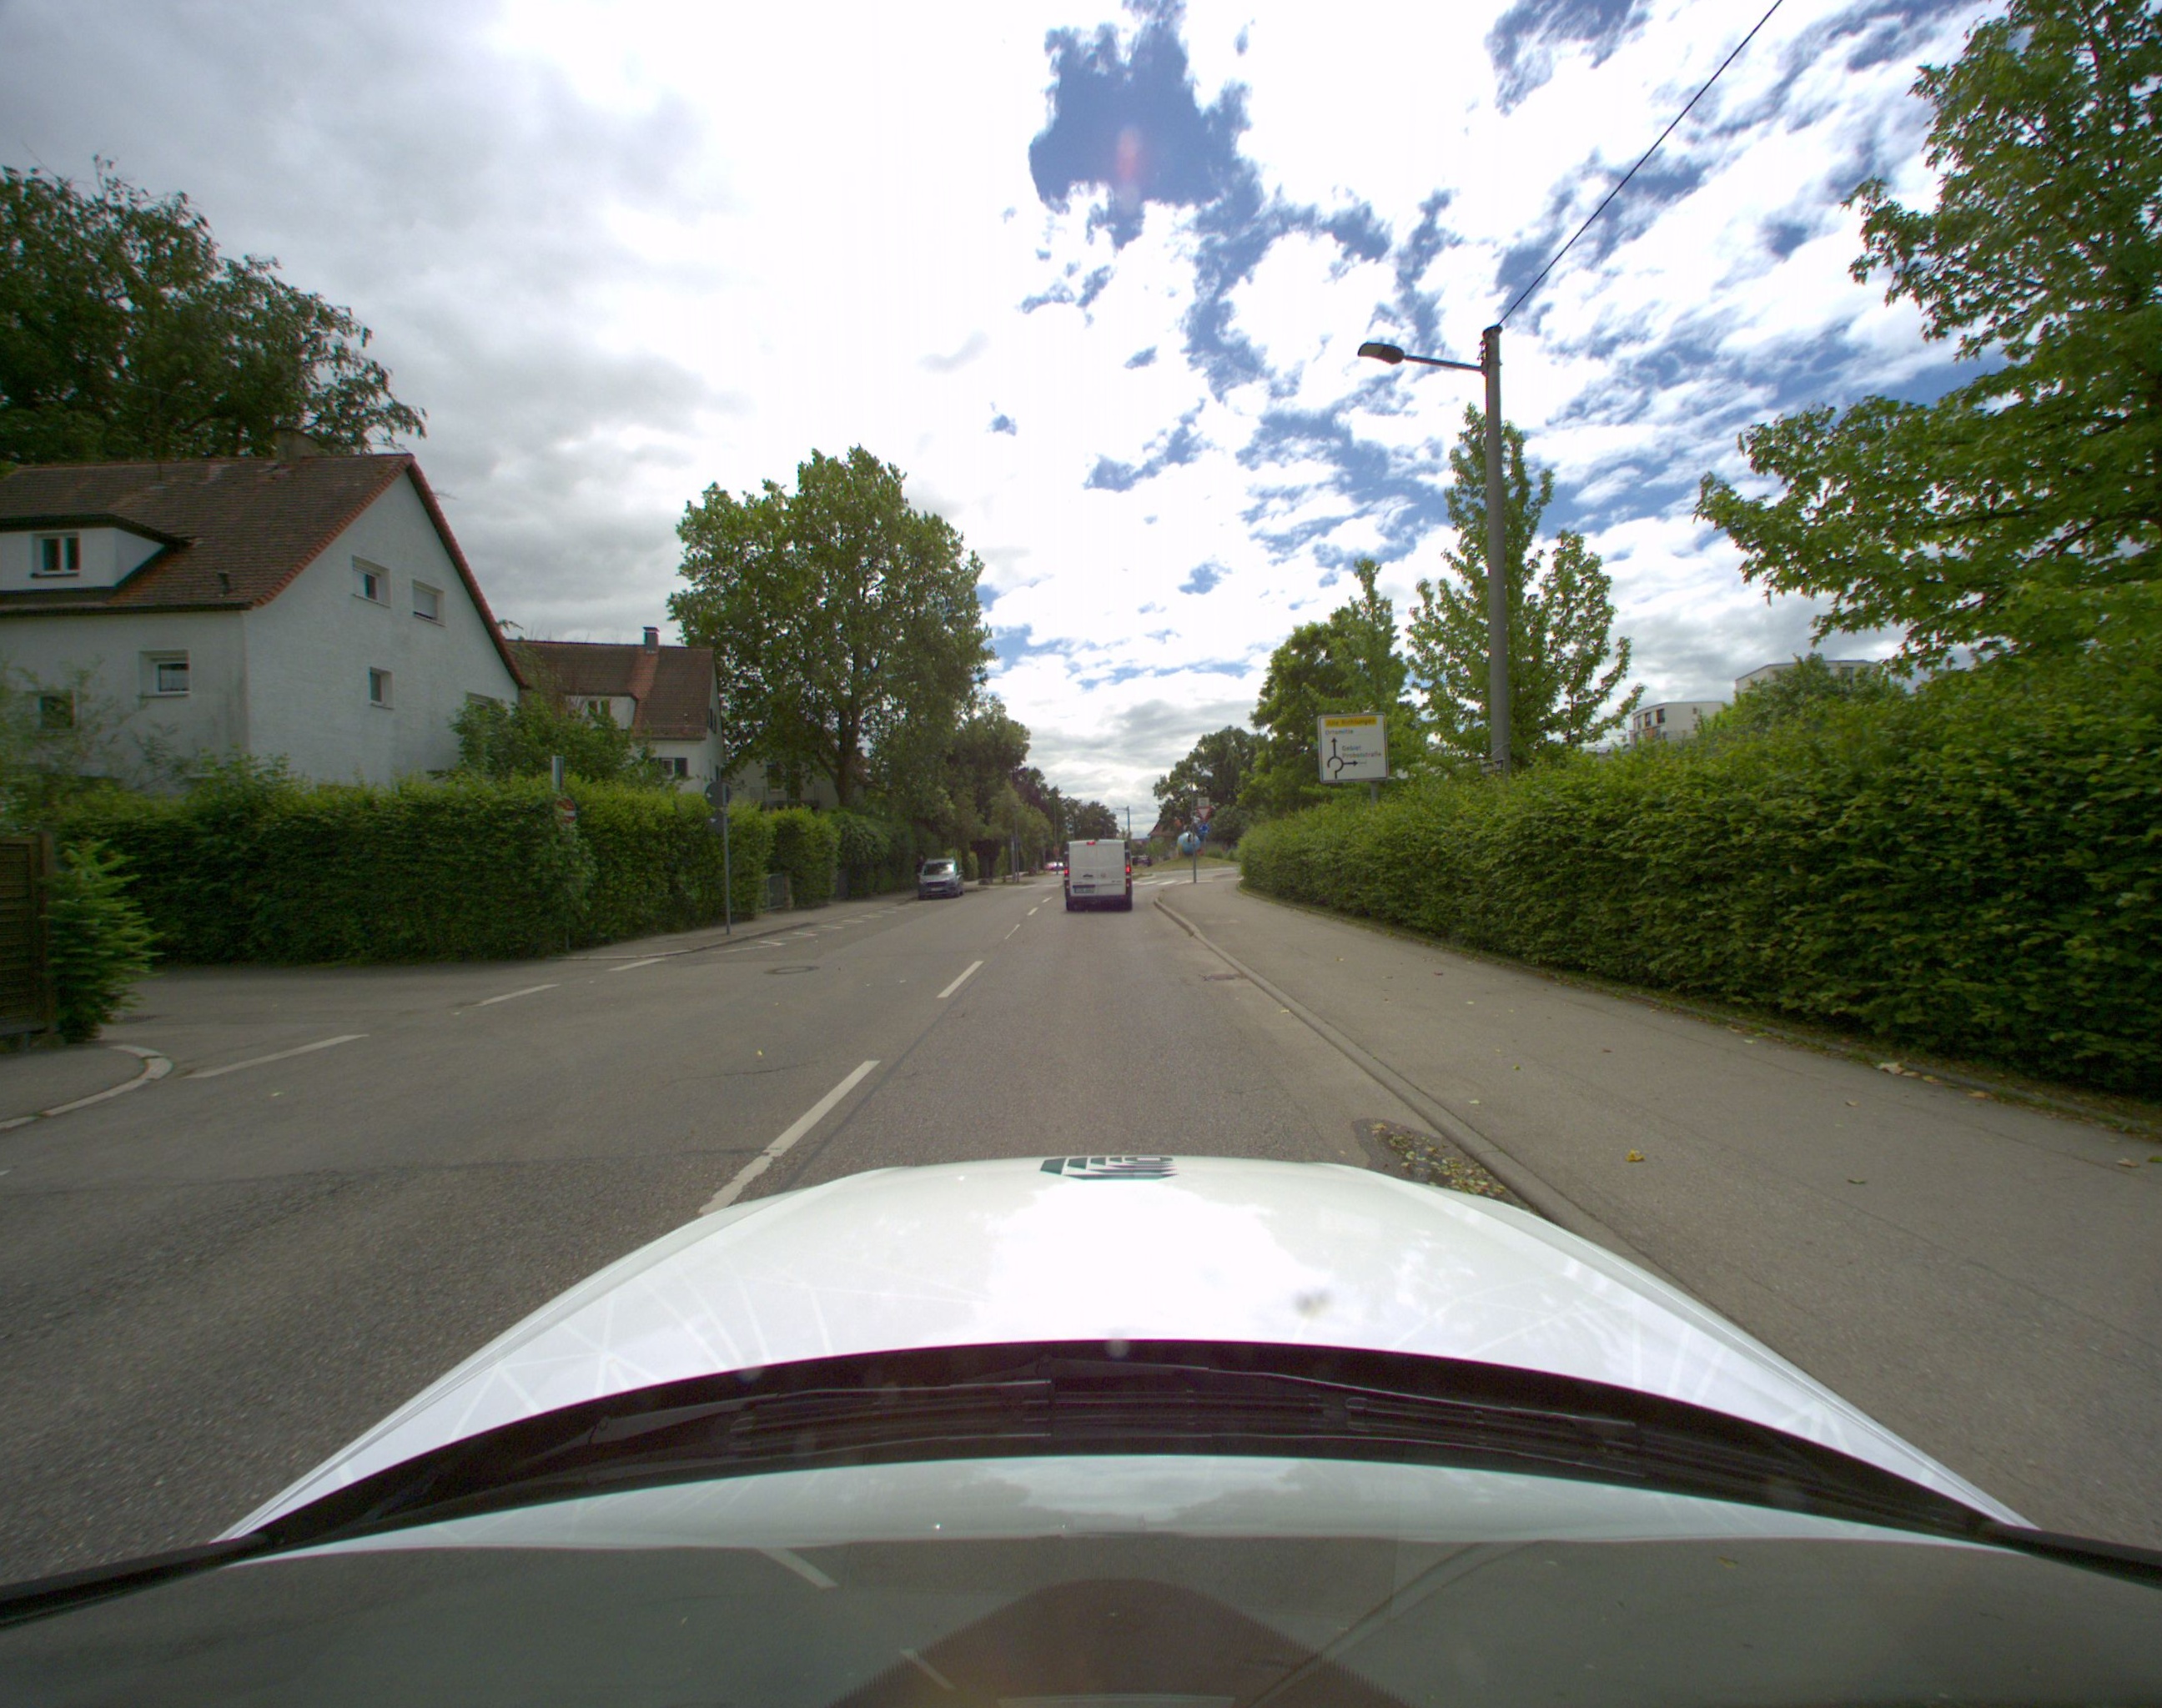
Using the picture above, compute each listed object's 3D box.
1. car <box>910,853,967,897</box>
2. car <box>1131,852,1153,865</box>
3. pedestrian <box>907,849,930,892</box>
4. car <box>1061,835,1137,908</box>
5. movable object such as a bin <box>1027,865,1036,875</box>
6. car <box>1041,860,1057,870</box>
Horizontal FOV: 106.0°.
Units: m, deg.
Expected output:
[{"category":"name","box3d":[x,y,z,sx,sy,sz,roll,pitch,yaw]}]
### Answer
[{"category":"car","box3d":[-6.218,0.860,35.963,2.129,1.772,4.456,-1,0,-6]},{"category":"car","box3d":[7.407,0.536,99.035,1.931,1.537,3.915,-2,1,-8]},{"category":"pedestrian","box3d":[-7.988,0.791,40.072,0.870,2.013,1.040,-3,0,-3]},{"category":"car","box3d":[0.591,0.444,24.253,2.026,1.945,4.997,-1,0,2]},{"category":"movable object such as a bin","box3d":[-4.769,1.514,78.251,0.625,0.863,0.642,-4,0,12]},{"category":"car","box3d":[-4.985,1.664,125.525,2.062,1.386,4.036,-2,1,-8]}]
